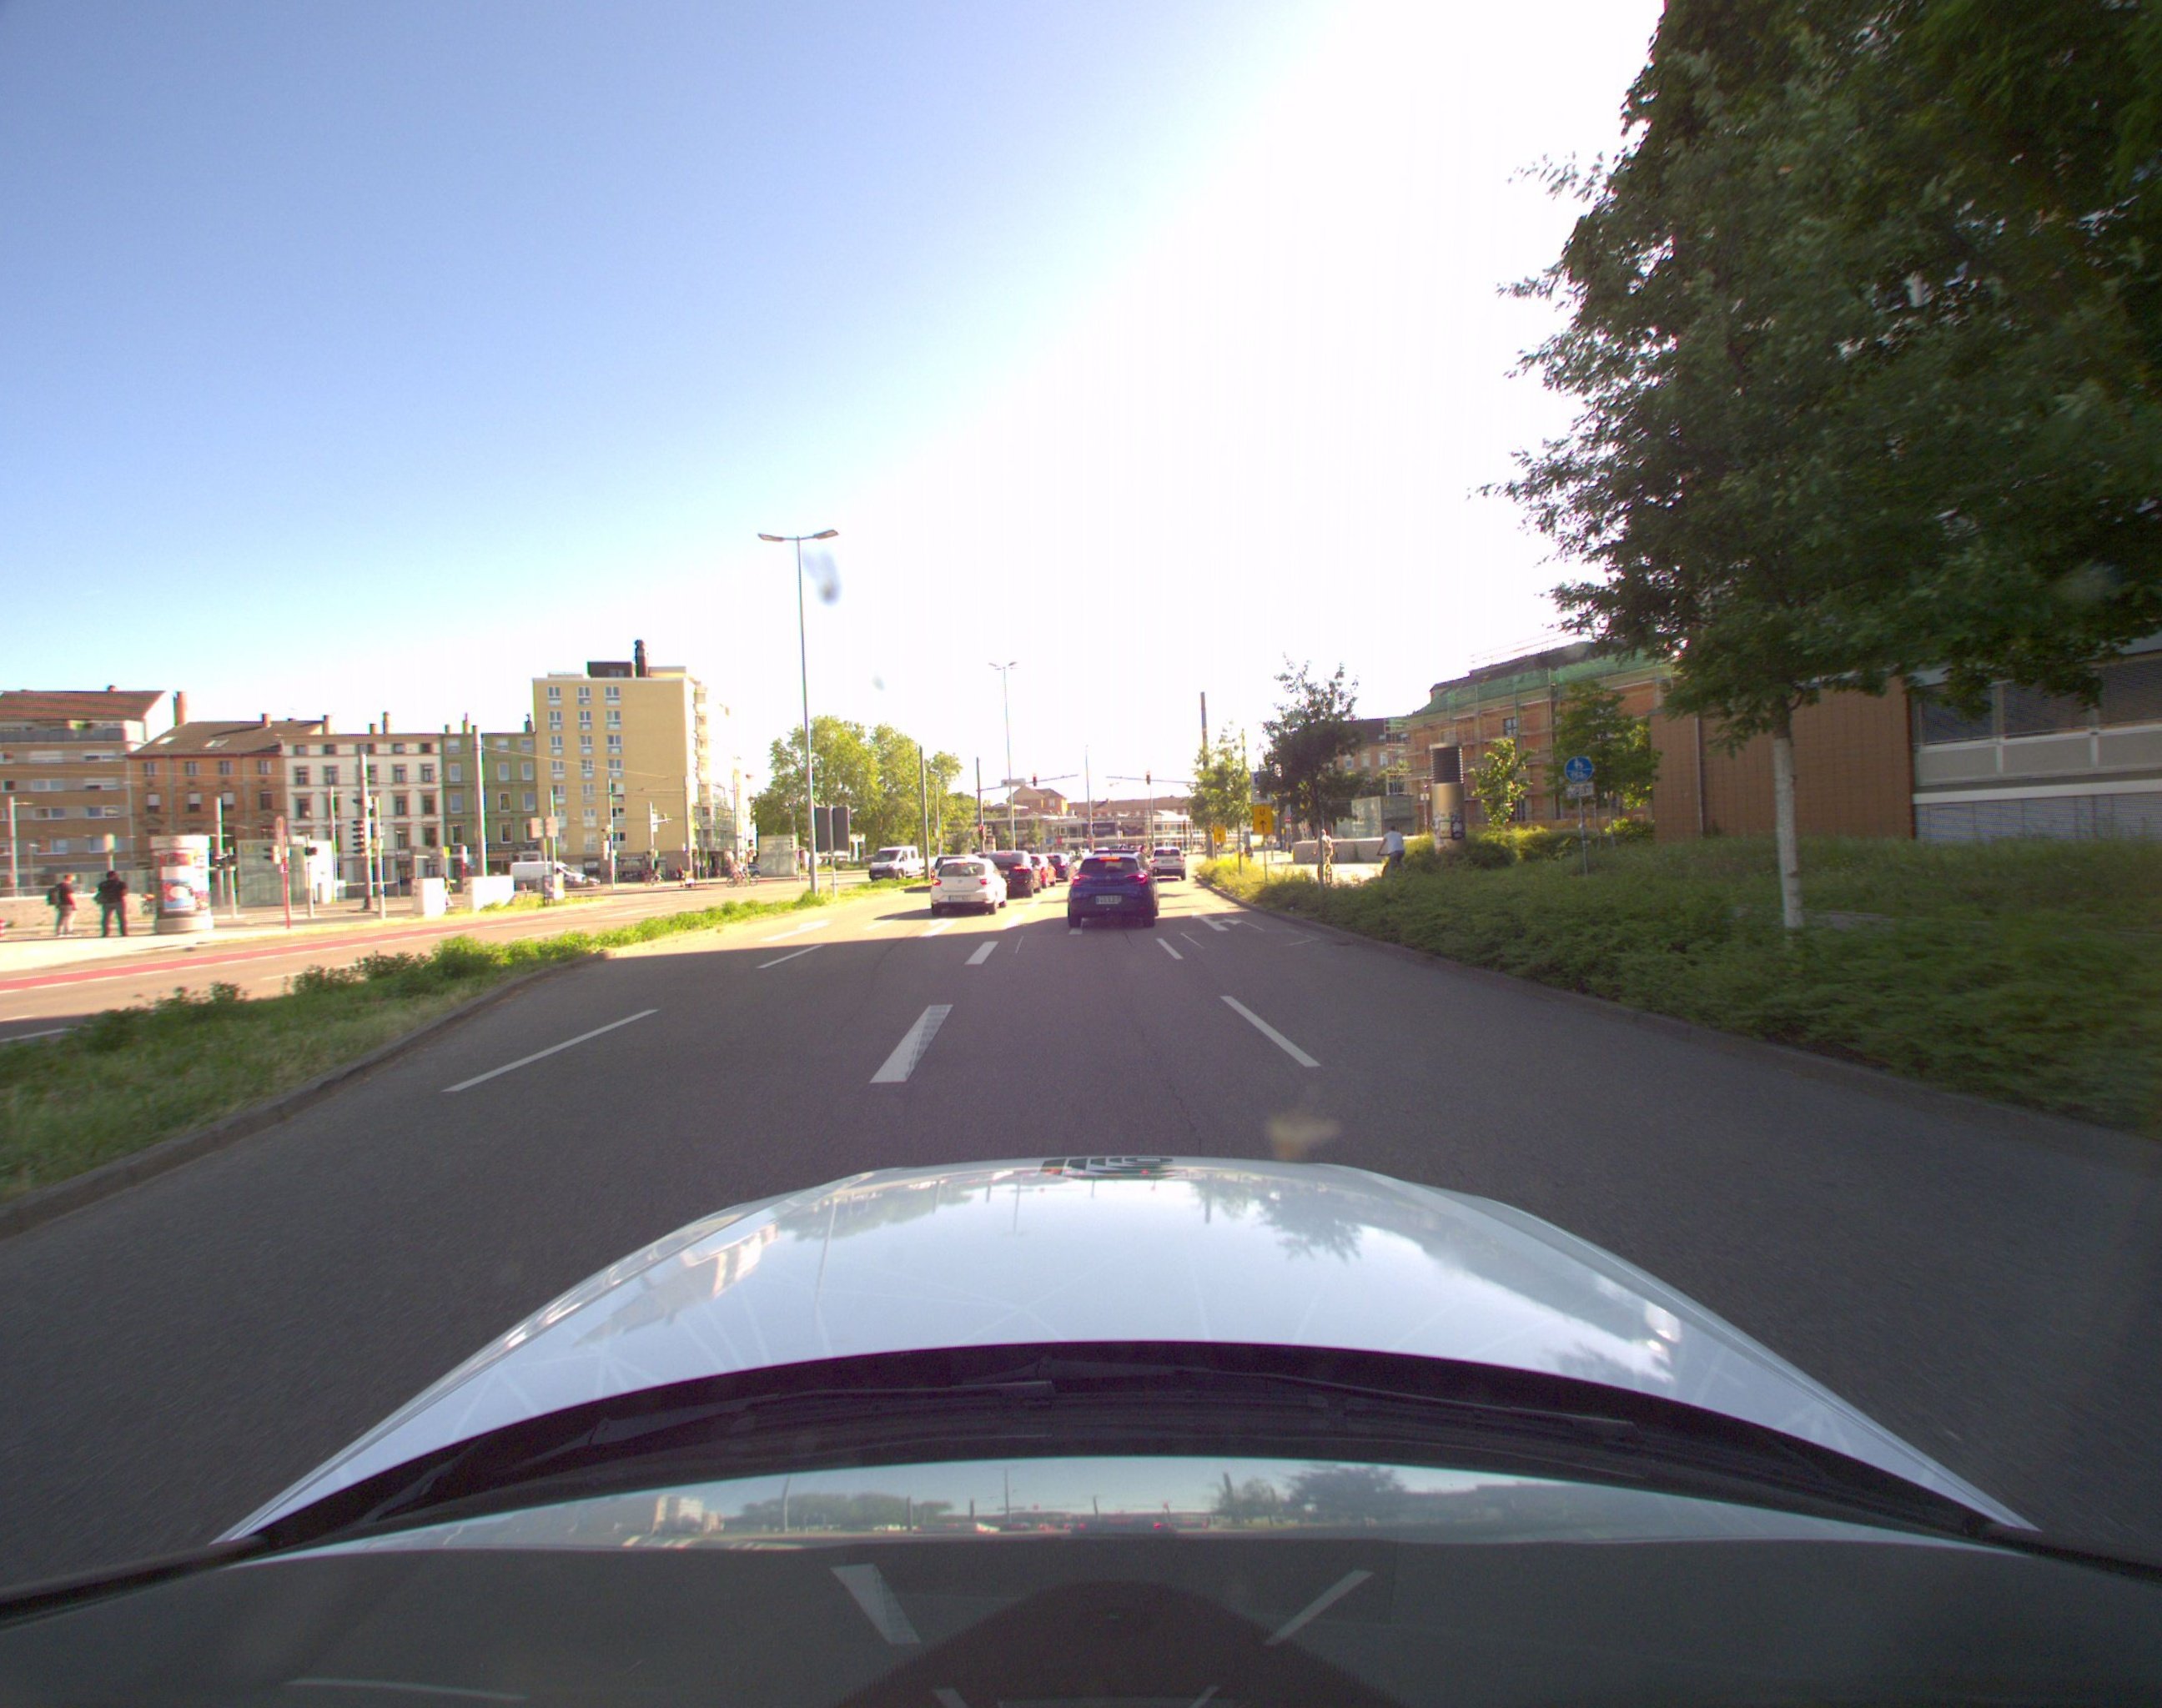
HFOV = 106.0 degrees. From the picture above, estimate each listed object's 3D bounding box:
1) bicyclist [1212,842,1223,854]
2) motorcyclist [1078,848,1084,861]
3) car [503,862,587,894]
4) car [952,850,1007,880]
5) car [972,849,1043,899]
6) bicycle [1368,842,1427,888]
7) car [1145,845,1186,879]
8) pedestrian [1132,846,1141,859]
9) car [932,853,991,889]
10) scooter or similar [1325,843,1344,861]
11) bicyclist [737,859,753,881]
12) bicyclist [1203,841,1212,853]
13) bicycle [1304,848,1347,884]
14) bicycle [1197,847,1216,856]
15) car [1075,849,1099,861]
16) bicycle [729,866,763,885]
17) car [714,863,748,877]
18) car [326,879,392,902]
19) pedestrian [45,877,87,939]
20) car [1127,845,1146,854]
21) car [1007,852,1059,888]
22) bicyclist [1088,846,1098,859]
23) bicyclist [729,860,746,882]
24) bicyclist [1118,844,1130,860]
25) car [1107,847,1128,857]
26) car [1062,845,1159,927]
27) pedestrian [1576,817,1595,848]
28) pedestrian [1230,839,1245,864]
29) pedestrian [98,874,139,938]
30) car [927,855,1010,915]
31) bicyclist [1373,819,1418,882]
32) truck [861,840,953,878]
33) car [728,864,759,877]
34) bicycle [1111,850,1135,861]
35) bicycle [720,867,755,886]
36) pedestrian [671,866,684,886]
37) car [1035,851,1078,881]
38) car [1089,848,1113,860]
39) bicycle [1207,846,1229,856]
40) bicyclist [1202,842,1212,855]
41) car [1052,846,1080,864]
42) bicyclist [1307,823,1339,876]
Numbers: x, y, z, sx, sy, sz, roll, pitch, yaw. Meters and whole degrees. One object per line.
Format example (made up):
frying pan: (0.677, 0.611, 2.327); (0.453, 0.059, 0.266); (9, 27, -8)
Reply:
bicyclist: (17.491, -0.774, 104.101); (1.063, 1.584, 0.944); (-2, 2, -12)
motorcyclist: (0.009, 0.054, 103.146); (0.545, 1.621, 0.748); (-2, 0, 20)
car: (-45.332, 1.969, 68.942); (5.491, 2.411, 1.992); (-2, 0, -12)
car: (-5.132, 0.519, 41.826); (1.714, 1.442, 3.921); (0, 0, 10)
car: (-2.549, 0.642, 29.259); (1.976, 1.624, 4.380); (-1, 0, 2)
bicycle: (8.478, 0.274, 21.893); (0.715, 1.165, 1.868); (-3, 1, -4)
car: (4.299, 0.386, 40.911); (1.866, 1.617, 3.633); (-1, 0, 8)
pedestrian: (7.035, -0.220, 102.386); (0.695, 1.610, 0.857); (0, 3, 43)
car: (-5.065, 0.700, 34.970); (1.717, 1.442, 3.804); (0, 0, 5)
scooter or similar: (14.952, -0.114, 48.114); (0.468, 1.012, 1.243); (-2, 2, -16)
bicyclist: (-22.211, 1.071, 53.839); (0.771, 1.444, 0.644); (-2, 0, 3)
bicyclist: (15.656, -0.834, 100.745); (0.959, 1.449, 0.969); (-2, 0, 0)
bicycle: (8.335, 0.380, 27.870); (0.744, 1.165, 1.867); (-3, 1, -4)
bicycle: (15.808, -0.281, 102.576); (2.179, 1.095, 0.756); (-2, 0, -12)
car: (0.880, 0.117, 110.699); (1.709, 1.442, 4.208); (-2, 0, 24)
bicycle: (-22.162, 1.430, 53.824); (1.942, 1.165, 0.644); (-2, 0, 3)
car: (-41.167, 1.859, 95.897); (3.437, 1.510, 1.685); (-2, 0, -14)
car: (-66.858, 3.385, 75.506); (3.988, 1.771, 1.993); (-2, 2, -11)
pedestrian: (-29.011, 1.531, 23.285); (0.651, 1.723, 0.780); (0, -3, -45)
car: (8.764, -0.667, 128.239); (1.709, 1.442, 4.208); (0, 0, 24)
car: (-2.024, 0.644, 35.424); (1.663, 1.442, 3.728); (0, 0, 6)
bicyclist: (1.431, -0.193, 98.678); (1.063, 1.584, 0.944); (-2, 2, -12)
bicyclist: (-22.224, 1.096, 52.725); (0.770, 1.444, 0.644); (-2, 0, 4)
bicyclist: (5.140, -0.248, 97.353); (1.187, 1.776, 0.941); (-3, 2, -20)
car: (5.447, -0.308, 121.638); (1.709, 1.442, 4.208); (0, 0, 24)
car: (0.766, 0.657, 18.130); (1.867, 1.617, 3.804); (-1, -1, 6)
pedestrian: (29.024, -1.215, 46.890); (0.537, 1.752, 0.786); (-2, 2, -11)
pedestrian: (11.036, -0.179, 57.443); (0.588, 1.723, 0.876); (-3, -3, 39)
pedestrian: (-27.101, 1.436, 22.939); (0.651, 1.742, 0.780); (0, -1, -45)
car: (-2.972, 0.777, 22.184); (1.685, 1.436, 3.736); (-1, 0, 0)
bicyclist: (8.462, -0.100, 21.939); (0.718, 1.617, 0.976); (-3, 0, -4)
truck: (-11.378, 0.262, 53.931); (2.194, 2.313, 6.923); (-2, 0, 24)
car: (-41.516, 2.000, 100.153); (3.268, 1.316, 1.518); (-2, 2, -15)
bicycle: (5.000, 0.213, 97.300); (2.655, 1.188, 0.941); (-3, 2, -20)
bicycle: (-22.255, 1.430, 52.730); (1.942, 1.165, 0.644); (-2, 0, 3)
pedestrian: (-29.367, 1.610, 59.269); (0.593, 1.408, 0.567); (-2, 2, -11)
car: (-1.212, 0.597, 41.795); (1.716, 1.442, 3.805); (0, 0, 6)
car: (2.673, 0.047, 107.553); (1.709, 1.442, 4.208); (-2, 0, 24)
bicycle: (17.508, -0.397, 104.193); (2.648, 1.188, 0.944); (-2, 2, -12)
bicyclist: (15.819, -0.638, 102.583); (0.986, 1.604, 0.756); (-2, 0, -11)
car: (-1.836, 0.146, 103.863); (1.975, 2.013, 4.024); (-1, 3, 24)
bicyclist: (8.305, -0.156, 27.955); (0.718, 1.762, 0.976); (-3, 0, -3)
